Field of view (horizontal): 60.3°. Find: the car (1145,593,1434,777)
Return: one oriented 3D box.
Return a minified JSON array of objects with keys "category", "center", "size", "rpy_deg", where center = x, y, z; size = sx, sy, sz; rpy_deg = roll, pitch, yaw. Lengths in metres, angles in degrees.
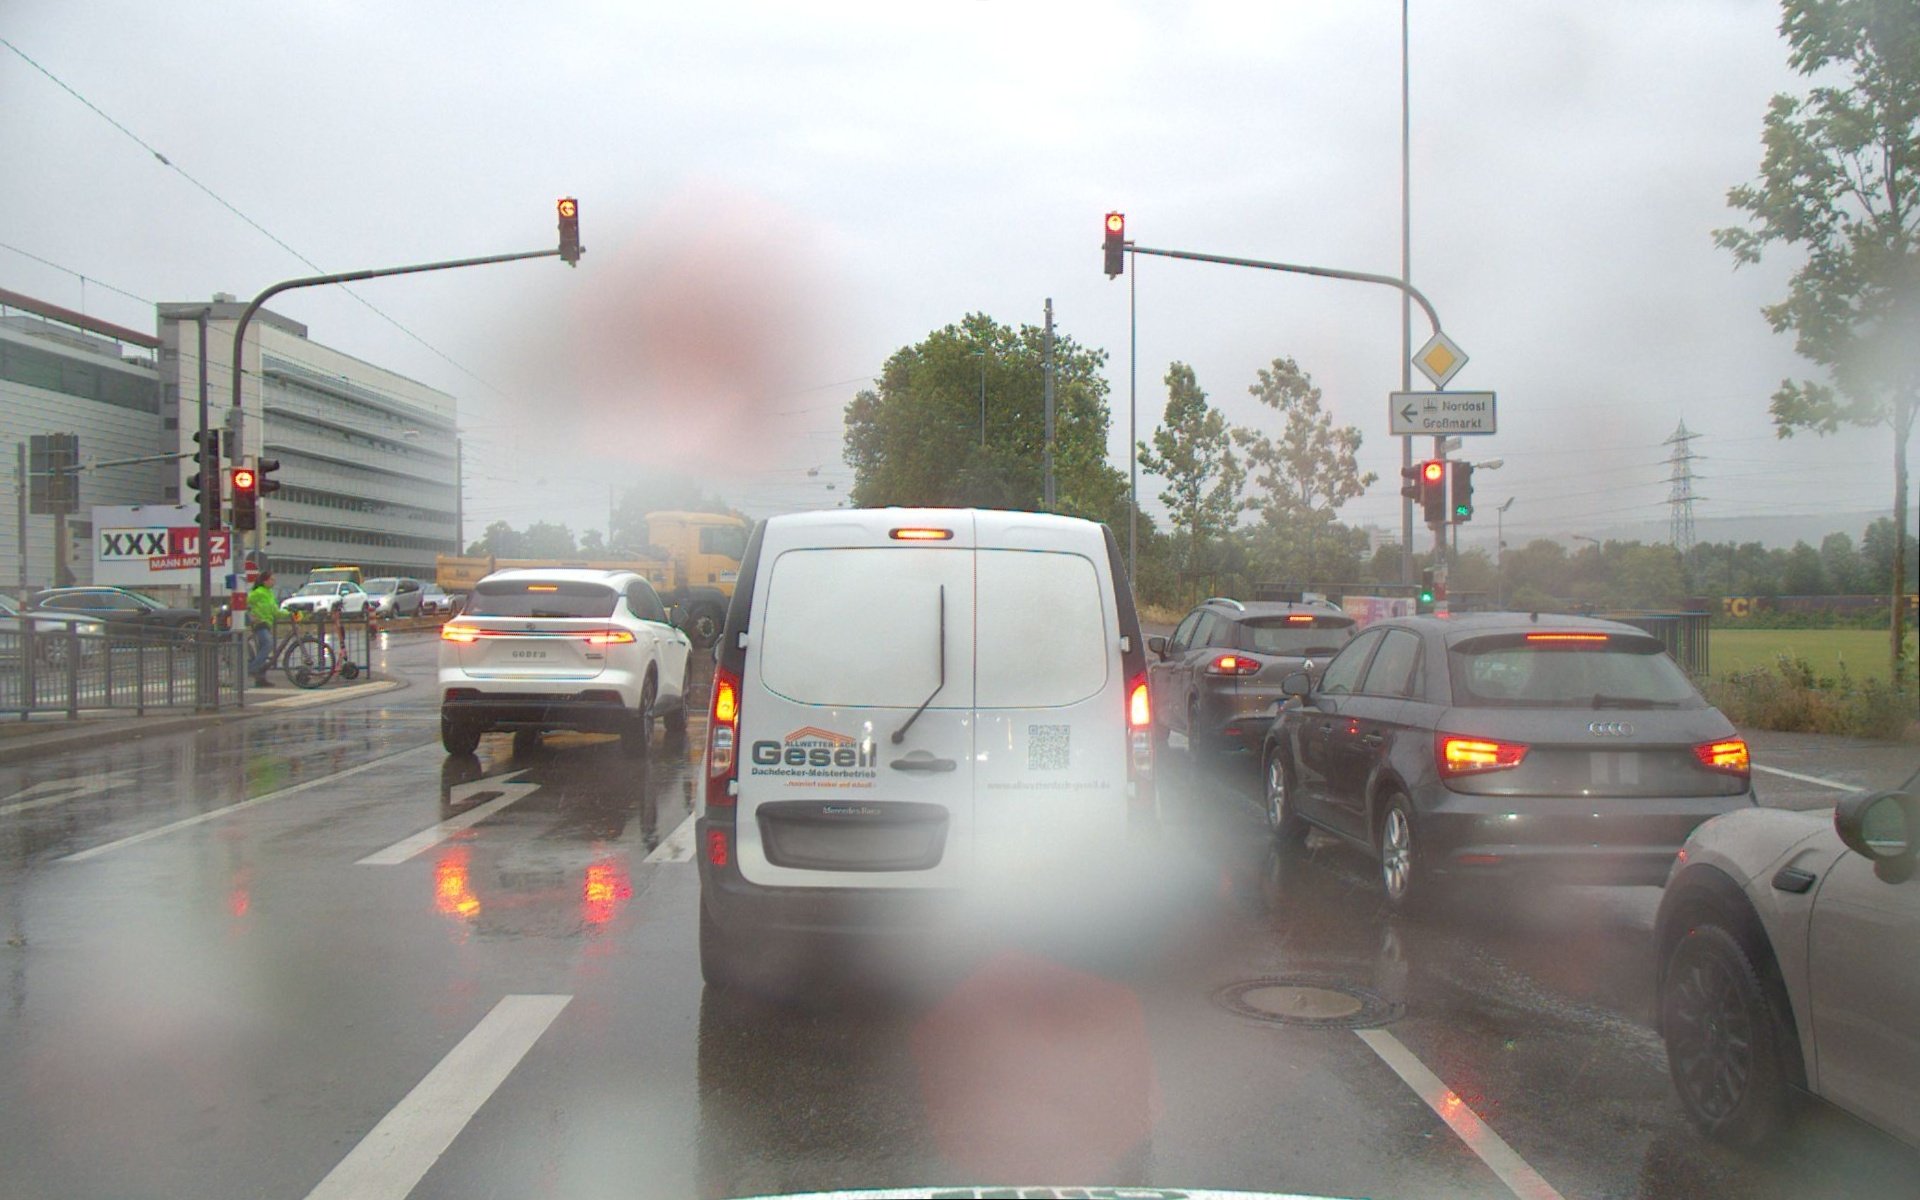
[{"category":"car","center":[2.923,0.693,15.502],"size":[1.822,1.453,3.806],"rpy_deg":[1,1,-2]}]

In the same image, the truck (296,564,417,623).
[{"category":"truck","center":[-25.385,-0.236,69.935],"size":[2.303,2.319,7.632],"rpy_deg":[1,0,0]}]

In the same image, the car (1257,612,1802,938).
[{"category":"car","center":[2.791,0.769,8.949],"size":[1.596,1.368,3.622],"rpy_deg":[1,0,-2]}]

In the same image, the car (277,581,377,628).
[{"category":"car","center":[-21.678,0.158,56.783],"size":[1.662,1.518,3.878],"rpy_deg":[1,0,5]}]

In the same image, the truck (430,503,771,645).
[{"category":"truck","center":[-7.828,-0.487,36.697],"size":[7.086,2.865,2.600],"rpy_deg":[1,0,-43]}]

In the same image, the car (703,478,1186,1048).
[{"category":"car","center":[-0.073,0.527,7.311],"size":[1.534,1.819,3.999],"rpy_deg":[0,0,-1]}]

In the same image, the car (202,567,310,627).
[{"category":"car","center":[-25.302,-0.099,59.587],"size":[1.952,2.049,4.002],"rpy_deg":[1,0,3]}]

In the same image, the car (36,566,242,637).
[{"category":"car","center":[-17.788,0.040,35.994],"size":[3.670,1.435,1.833],"rpy_deg":[1,0,-15]}]

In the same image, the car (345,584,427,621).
[{"category":"car","center":[-21.734,0.113,62.776],"size":[1.554,1.359,3.832],"rpy_deg":[1,-1,4]}]

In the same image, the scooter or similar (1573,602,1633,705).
[{"category":"scooter or similar","center":[7.596,0.614,19.572],"size":[0.240,1.178,1.186],"rpy_deg":[1,0,1]}]

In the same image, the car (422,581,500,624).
[{"category":"car","center":[-21.070,0.115,70.023],"size":[1.853,1.729,4.001],"rpy_deg":[1,0,3]}]

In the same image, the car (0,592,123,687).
[{"category":"car","center":[-17.583,0.693,30.019],"size":[4.001,1.689,1.612],"rpy_deg":[1,0,-17]}]

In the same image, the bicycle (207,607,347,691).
[{"category":"bicycle","center":[-9.600,0.687,23.278],"size":[1.716,1.052,0.414],"rpy_deg":[4,-1,-3]}]

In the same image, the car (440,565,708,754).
[{"category":"car","center":[-3.573,0.480,16.068],"size":[1.694,1.562,4.296],"rpy_deg":[1,1,-2]}]

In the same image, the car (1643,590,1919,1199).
[{"category":"car","center":[2.973,0.762,3.226],"size":[1.679,1.534,3.622],"rpy_deg":[1,0,-2]}]
